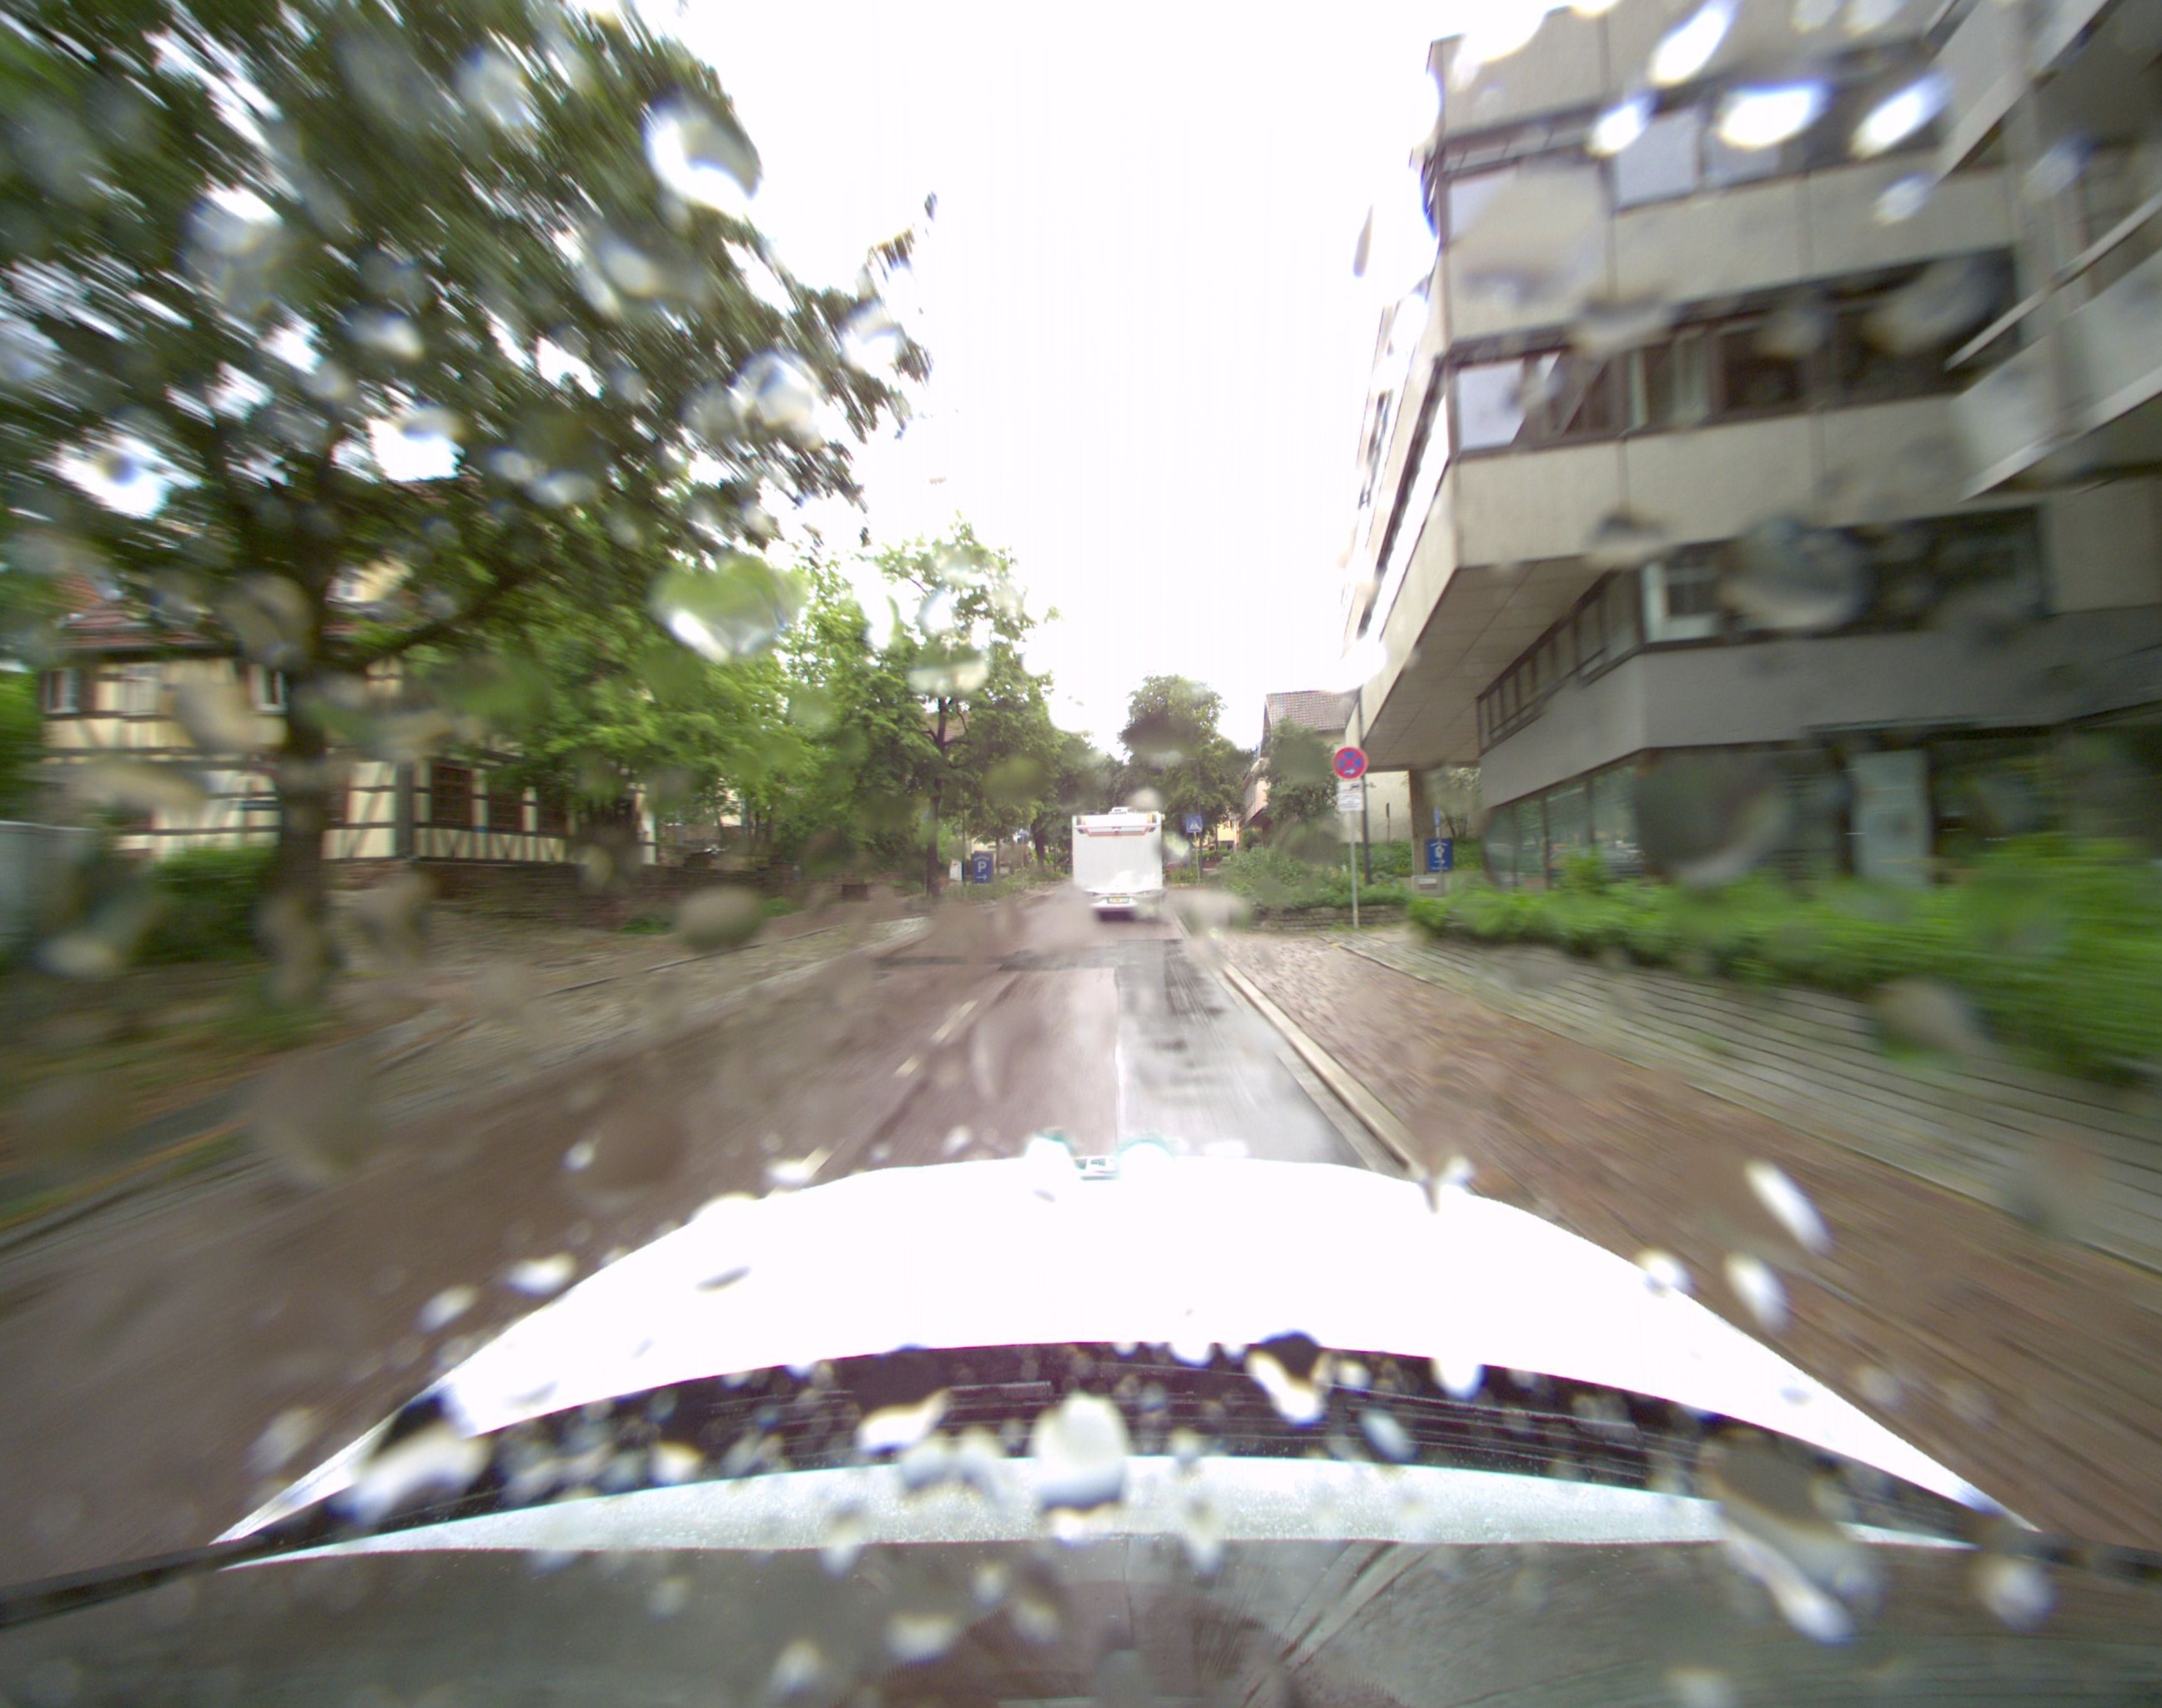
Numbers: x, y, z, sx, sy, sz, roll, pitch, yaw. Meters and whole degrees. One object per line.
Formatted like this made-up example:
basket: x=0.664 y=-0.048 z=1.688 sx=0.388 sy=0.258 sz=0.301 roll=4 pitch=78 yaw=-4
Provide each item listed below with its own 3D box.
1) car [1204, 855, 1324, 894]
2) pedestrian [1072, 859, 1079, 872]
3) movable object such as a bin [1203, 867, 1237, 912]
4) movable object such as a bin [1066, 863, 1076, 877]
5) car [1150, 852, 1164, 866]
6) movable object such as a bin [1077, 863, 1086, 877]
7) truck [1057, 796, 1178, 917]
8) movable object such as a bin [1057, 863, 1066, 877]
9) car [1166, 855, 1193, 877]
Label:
car: x=6.982 y=0.755 z=31.369 sx=4.265 sy=1.417 sz=1.842 roll=-1 pitch=0 yaw=3
pedestrian: x=-0.728 y=1.553 z=109.959 sx=0.813 sy=1.844 sz=0.771 roll=-1 pitch=-2 yaw=4
movable object such as a bin: x=3.594 y=0.918 z=21.037 sx=0.697 sy=1.124 sz=0.574 roll=-3 pitch=-2 yaw=20
movable object such as a bin: x=-0.820 y=1.289 z=65.966 sx=0.667 sy=1.105 sz=0.818 roll=-2 pitch=-2 yaw=4
car: x=9.240 y=0.586 z=98.723 sx=1.641 sy=1.542 sz=3.535 roll=-3 pitch=-2 yaw=5
movable object such as a bin: x=0.022 y=1.280 z=66.264 sx=0.667 sy=1.095 sz=0.818 roll=-2 pitch=-2 yaw=4
truck: x=1.106 y=0.134 z=22.676 sx=2.793 sy=2.797 sz=6.113 roll=-3 pitch=-2 yaw=4
movable object such as a bin: x=-1.585 y=1.340 z=66.823 sx=0.667 sy=1.105 sz=0.818 roll=-2 pitch=-2 yaw=4
car: x=7.158 y=0.846 z=58.997 sx=1.845 sy=1.472 sz=4.374 roll=-1 pitch=0 yaw=7
